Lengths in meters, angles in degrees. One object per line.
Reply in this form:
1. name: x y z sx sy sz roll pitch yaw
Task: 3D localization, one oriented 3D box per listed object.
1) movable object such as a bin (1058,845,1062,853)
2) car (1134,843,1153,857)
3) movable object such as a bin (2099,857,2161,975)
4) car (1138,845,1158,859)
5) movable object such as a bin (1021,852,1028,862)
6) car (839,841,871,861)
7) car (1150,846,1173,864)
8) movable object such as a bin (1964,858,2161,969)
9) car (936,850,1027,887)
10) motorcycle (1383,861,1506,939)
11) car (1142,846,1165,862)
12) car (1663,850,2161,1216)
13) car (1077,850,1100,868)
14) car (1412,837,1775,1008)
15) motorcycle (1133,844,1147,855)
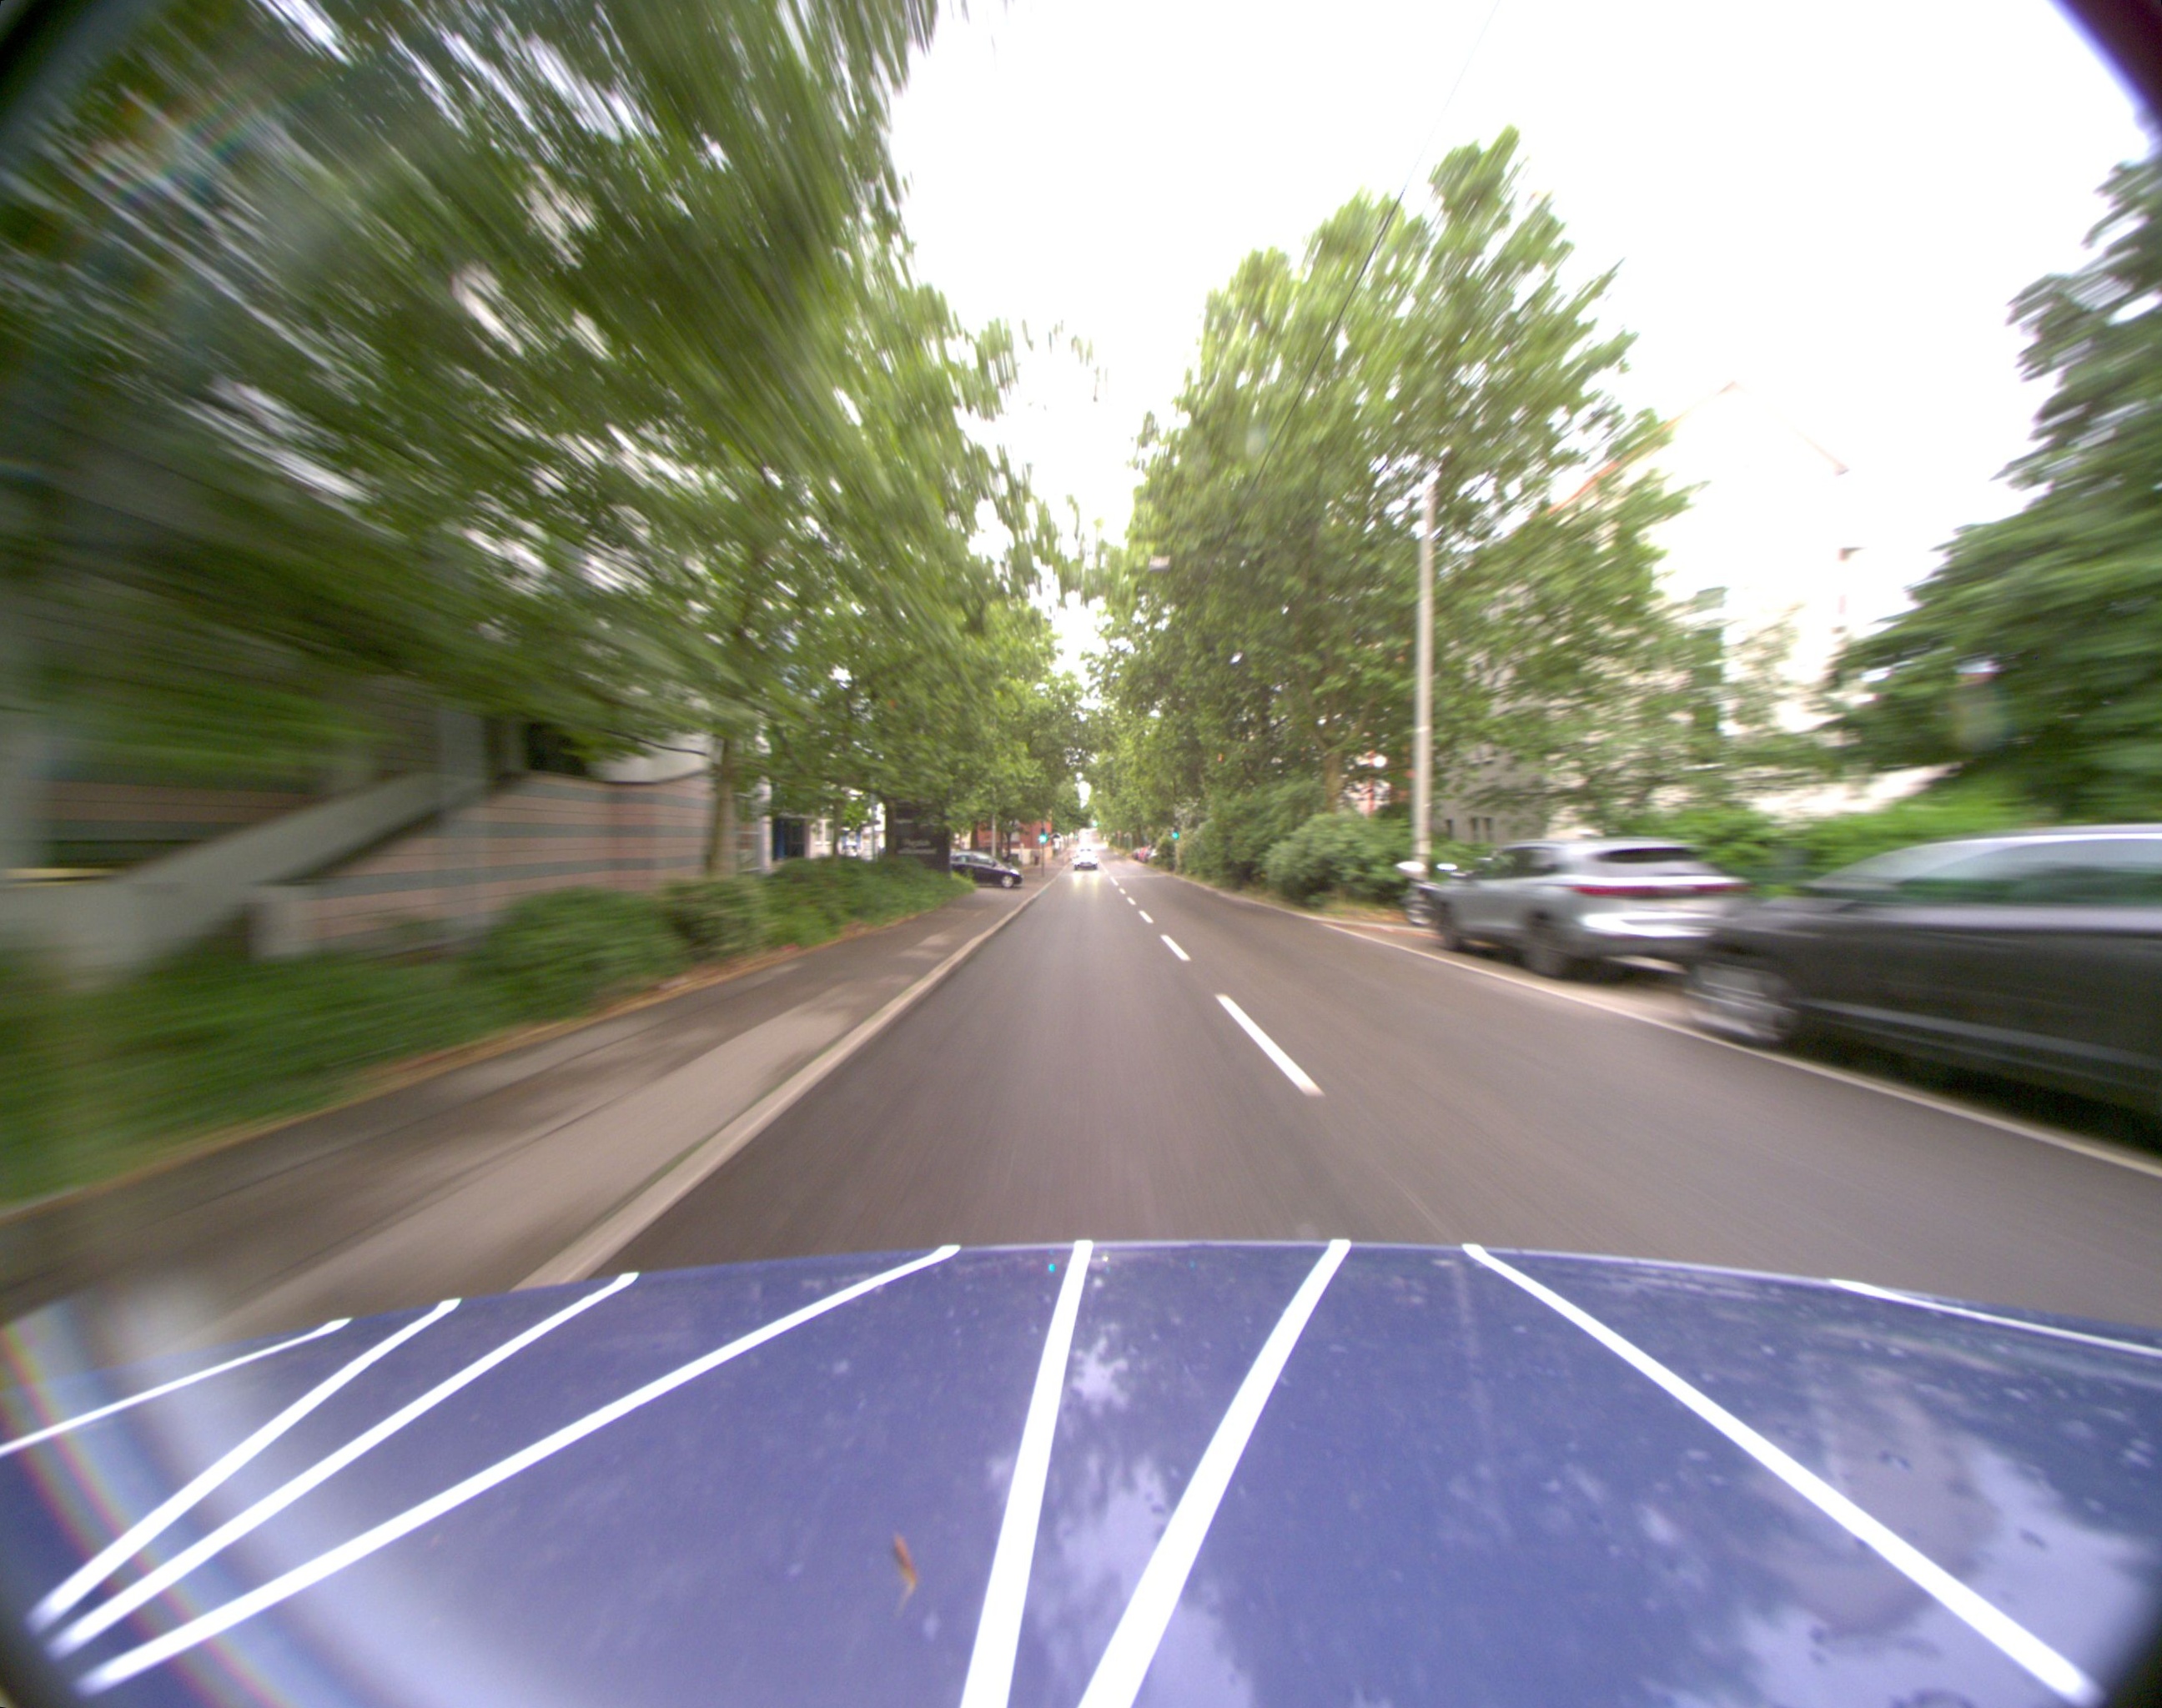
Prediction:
1. movable object such as a bin: -3.057 -0.724 109.179 0.506 1.109 0.618 0 2 1
2. car: 7.441 -0.498 91.162 1.721 1.501 4.802 -1 1 -1
3. movable object such as a bin: 13.306 0.735 8.718 1.238 1.372 1.480 0 1 3
4. car: 7.065 -0.233 80.439 1.721 1.459 3.754 -1 1 -1
5. movable object such as a bin: -5.161 0.257 69.694 0.592 0.927 0.572 1 1 0
6. car: -23.201 -0.357 78.072 1.913 1.808 3.996 -2 2 1
7. car: 7.116 0.058 67.666 1.721 1.459 4.309 -1 1 1
8. movable object such as a bin: 13.400 0.753 10.256 1.238 1.372 1.480 0 1 3
9. car: -4.339 0.608 33.444 3.860 1.538 2.025 1 1 -5
10. motorcycle: 6.680 0.835 14.042 1.844 1.308 0.783 2 1 0
11. car: 7.036 -0.049 73.940 1.721 1.459 4.232 -1 1 -1
12. car: 5.632 0.802 3.947 1.869 1.582 4.238 2 0 -1
13. car: 0.550 0.370 60.524 1.692 1.334 3.998 0 2 -2
14. car: 6.221 0.703 10.041 1.738 1.648 4.564 3 0 2
15. motorcycle: 7.524 -0.595 96.231 1.717 1.333 0.722 0 2 1
